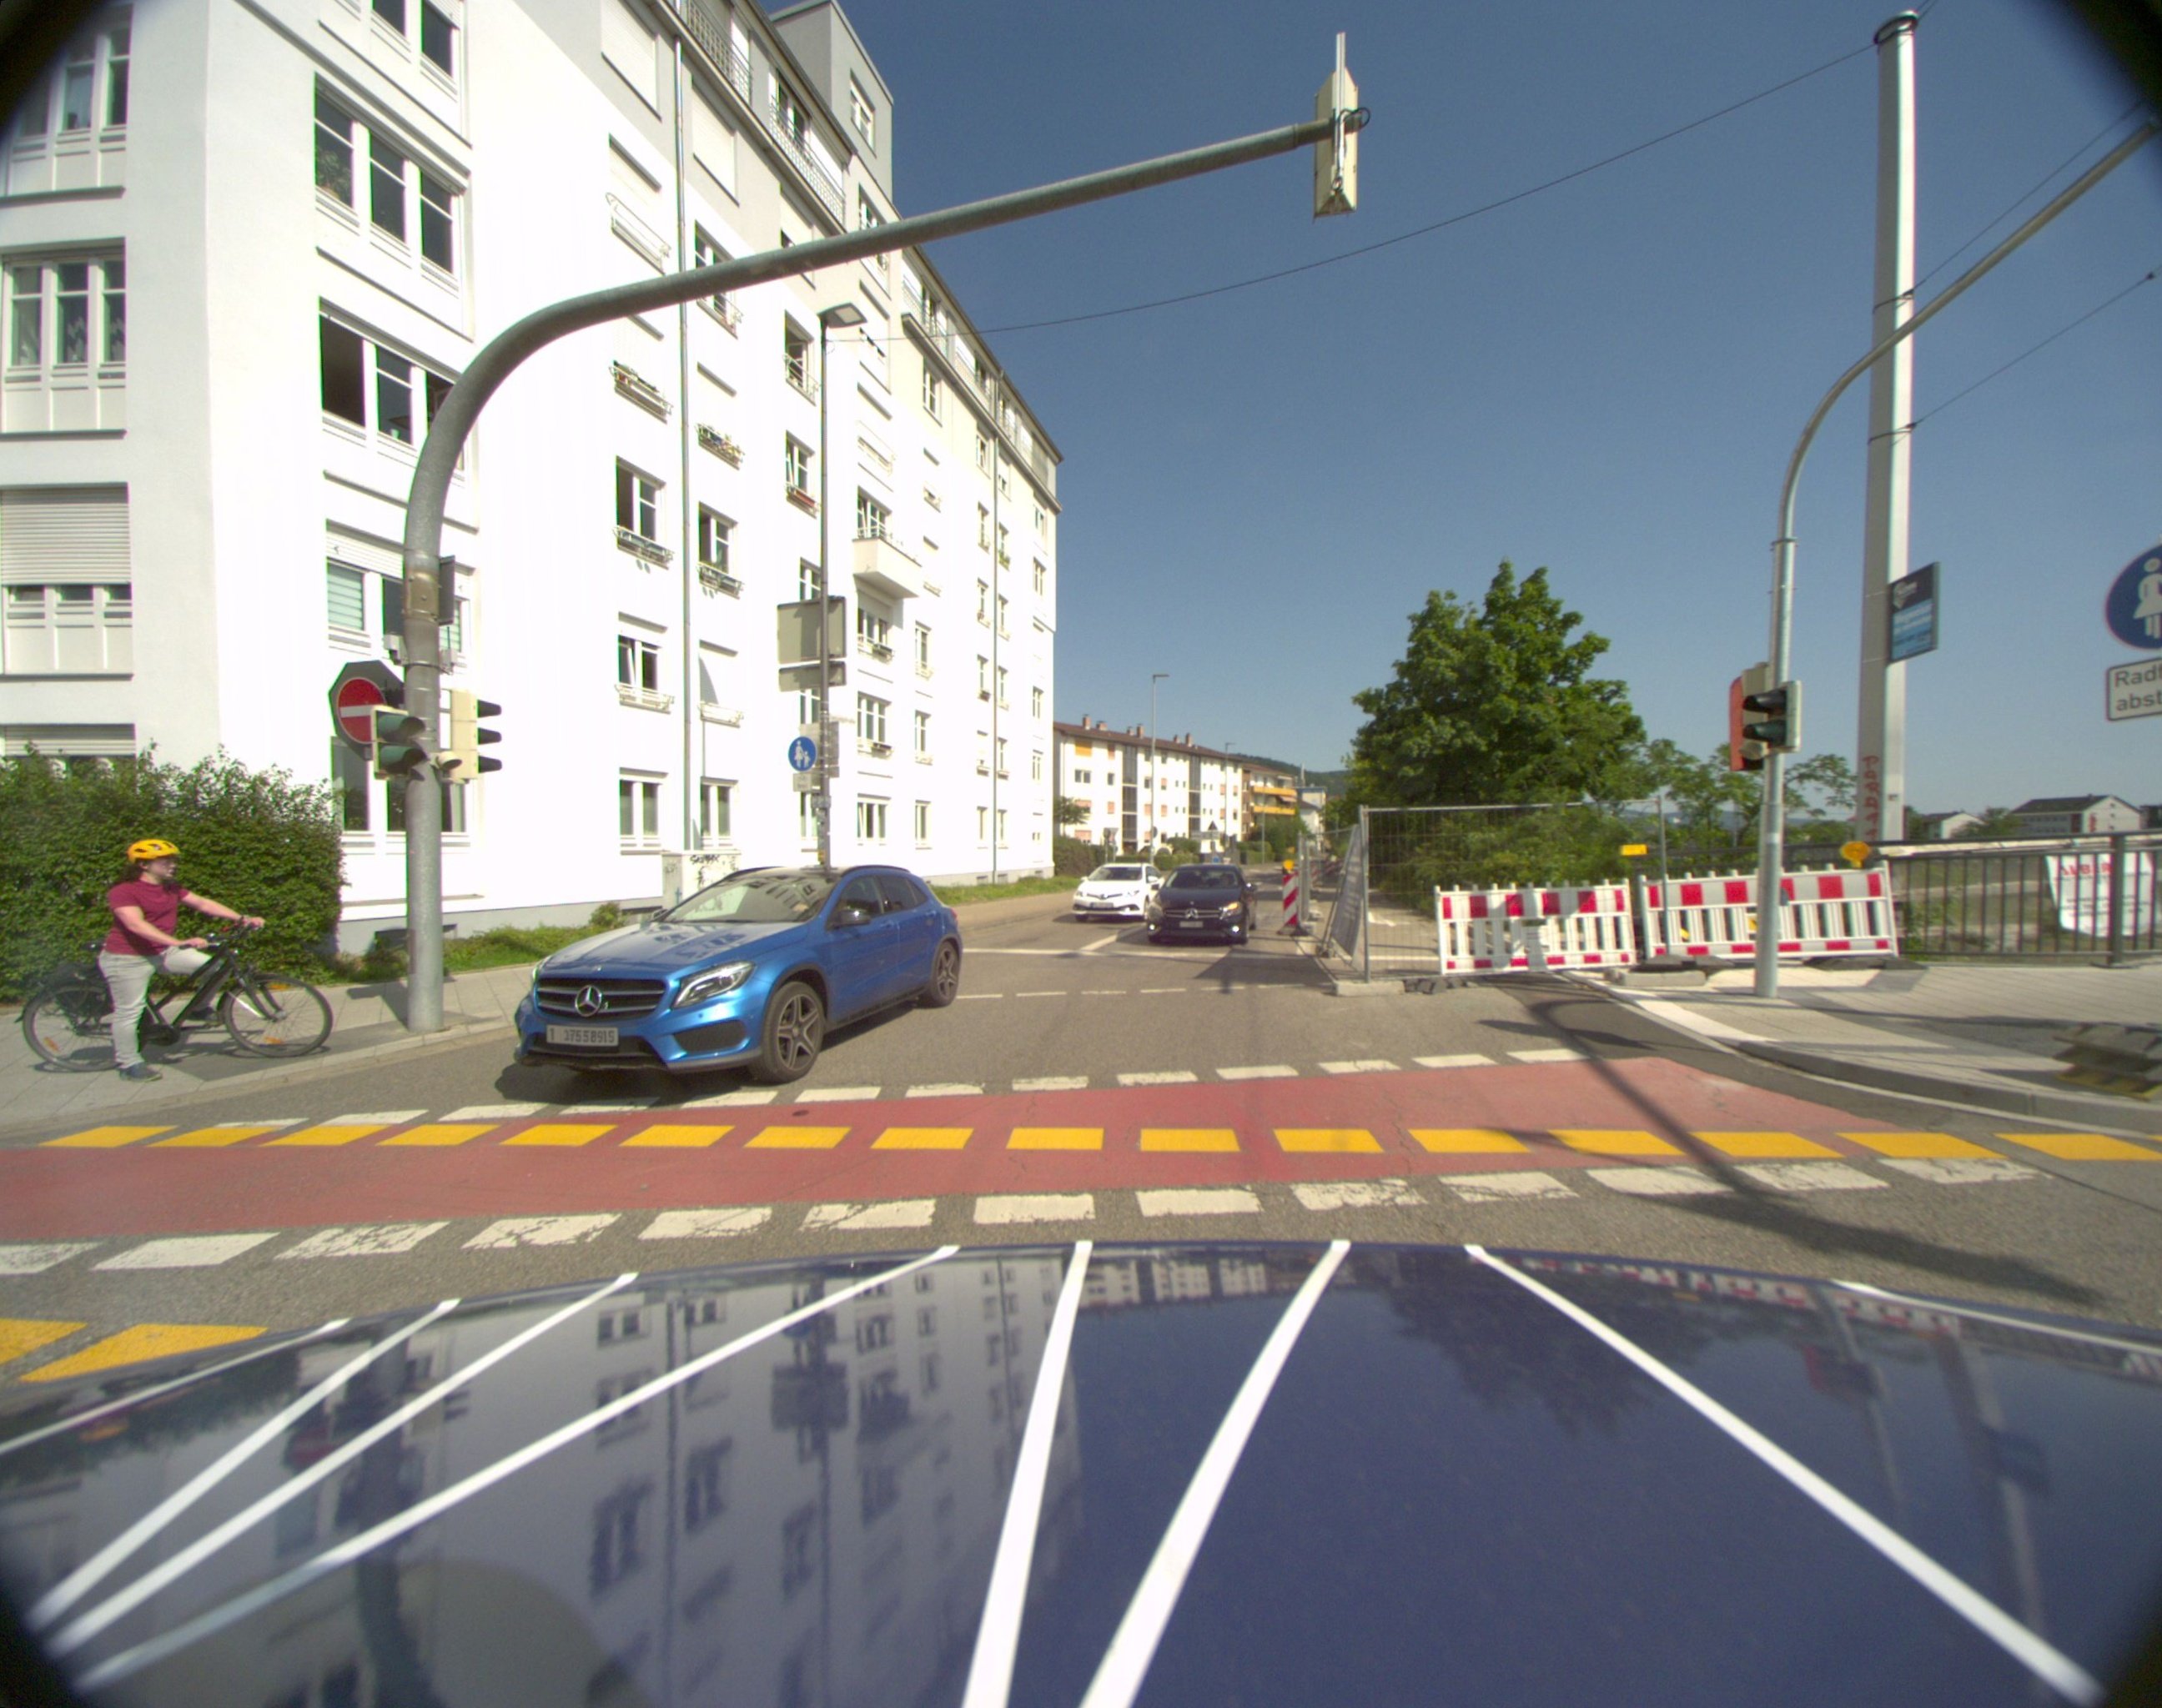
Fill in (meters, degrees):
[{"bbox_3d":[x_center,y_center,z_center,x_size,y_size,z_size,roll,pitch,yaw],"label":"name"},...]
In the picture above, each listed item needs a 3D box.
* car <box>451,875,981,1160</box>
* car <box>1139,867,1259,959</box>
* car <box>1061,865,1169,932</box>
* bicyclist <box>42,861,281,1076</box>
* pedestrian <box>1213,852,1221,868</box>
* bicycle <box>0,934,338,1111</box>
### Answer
[{"bbox_3d":[-2.480,0.989,6.650,1.673,1.472,4.555,-1,0,13],"label":"car"},{"bbox_3d":[2.459,1.001,14.825,1.700,1.400,4.628,0,0,16],"label":"car"},{"bbox_3d":[0.998,1.015,19.216,1.699,1.404,4.491,0,0,16],"label":"car"},{"bbox_3d":[-6.798,0.808,5.669,0.918,1.469,0.597,-1,2,-9],"label":"bicyclist"},{"bbox_3d":[12.801,0.592,71.697,0.607,1.500,0.772,0,2,21],"label":"pedestrian"},{"bbox_3d":[-6.855,1.217,5.676,1.814,1.093,0.604,-1,2,-9],"label":"bicycle"}]
